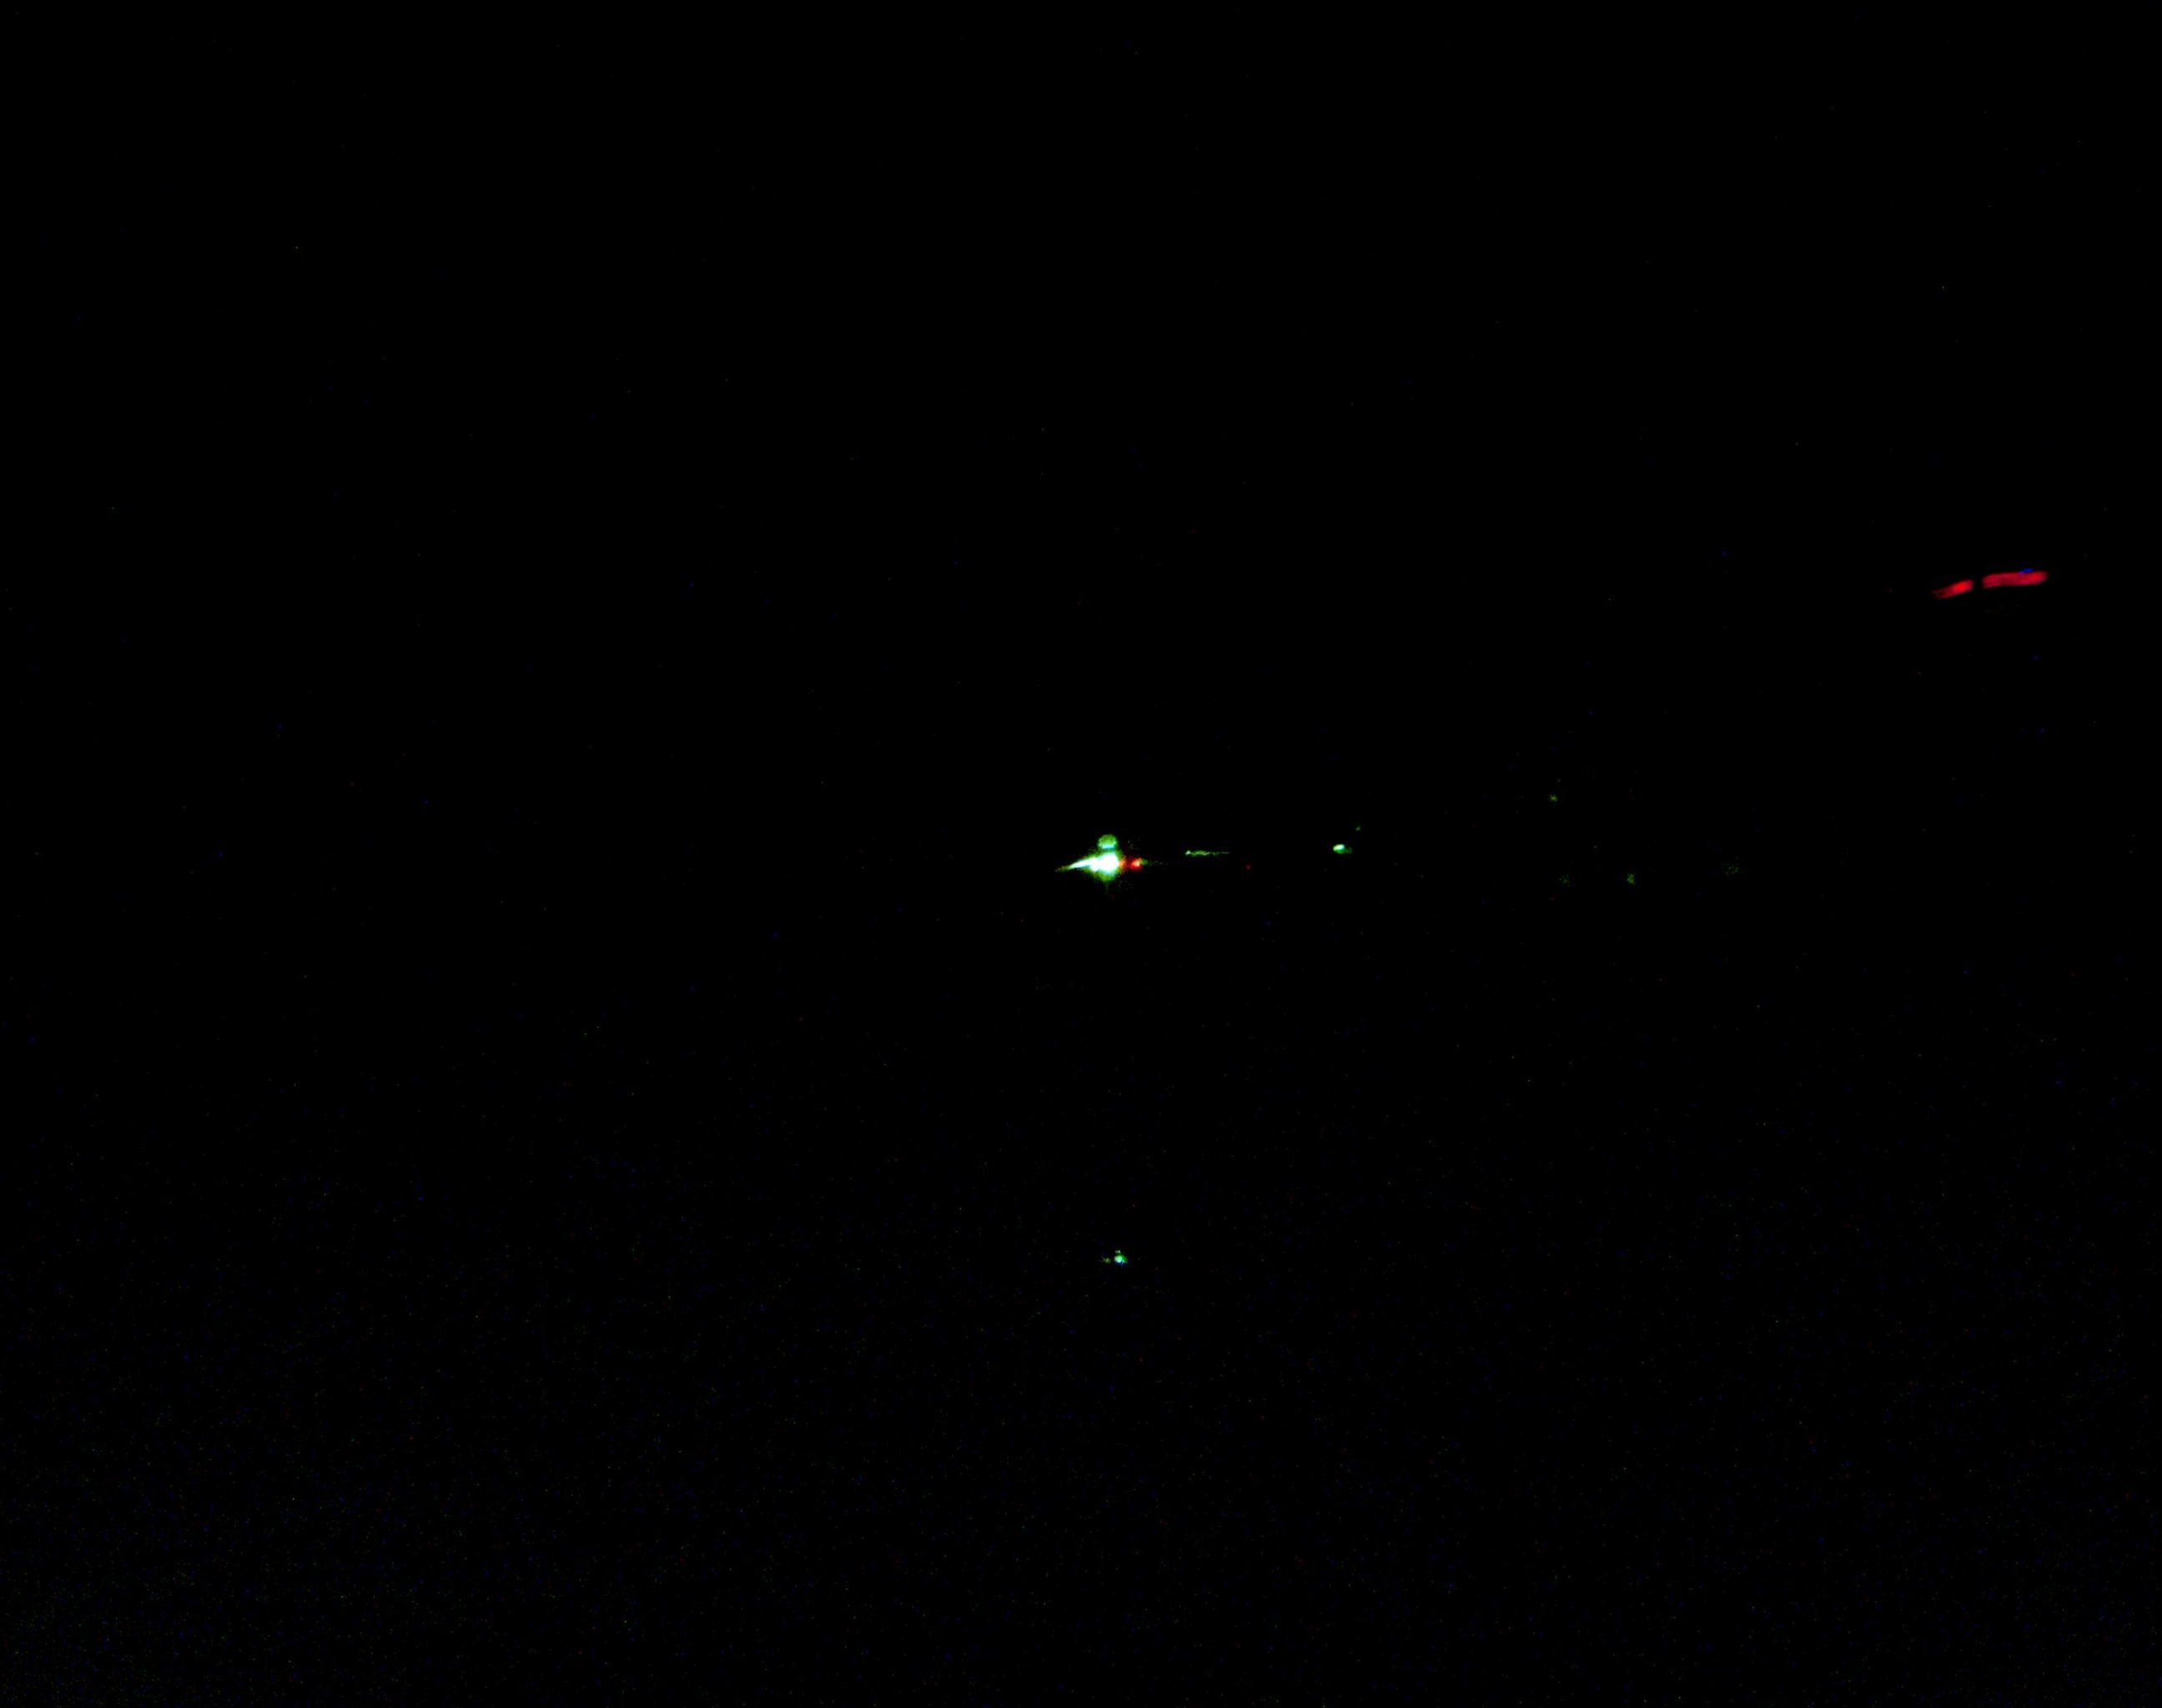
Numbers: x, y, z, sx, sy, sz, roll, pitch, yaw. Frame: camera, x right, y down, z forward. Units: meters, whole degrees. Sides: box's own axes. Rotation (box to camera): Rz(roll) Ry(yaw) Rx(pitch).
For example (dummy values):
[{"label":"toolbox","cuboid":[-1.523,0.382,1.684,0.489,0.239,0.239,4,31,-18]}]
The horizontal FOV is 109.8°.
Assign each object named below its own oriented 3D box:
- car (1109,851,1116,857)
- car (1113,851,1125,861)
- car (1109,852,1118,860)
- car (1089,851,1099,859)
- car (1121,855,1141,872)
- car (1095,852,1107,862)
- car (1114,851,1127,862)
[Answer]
[{"label":"car","cuboid":[8.692,-0.004,210.566,1.783,1.565,3.999,-2,1,1]},{"label":"car","cuboid":[6.294,0.325,127.485,1.783,1.565,3.999,-2,1,1]},{"label":"car","cuboid":[7.473,0.438,175.154,1.783,1.565,3.999,-2,1,1]},{"label":"car","cuboid":[2.604,0.199,151.456,1.783,1.565,3.999,-2,1,1]},{"label":"car","cuboid":[5.107,0.923,77.899,1.783,1.565,3.999,-2,1,1]},{"label":"car","cuboid":[3.328,0.455,126.025,1.824,1.565,4.106,-2,1,1]},{"label":"car","cuboid":[6.271,0.405,120.333,1.783,1.565,3.999,-2,1,1]}]
